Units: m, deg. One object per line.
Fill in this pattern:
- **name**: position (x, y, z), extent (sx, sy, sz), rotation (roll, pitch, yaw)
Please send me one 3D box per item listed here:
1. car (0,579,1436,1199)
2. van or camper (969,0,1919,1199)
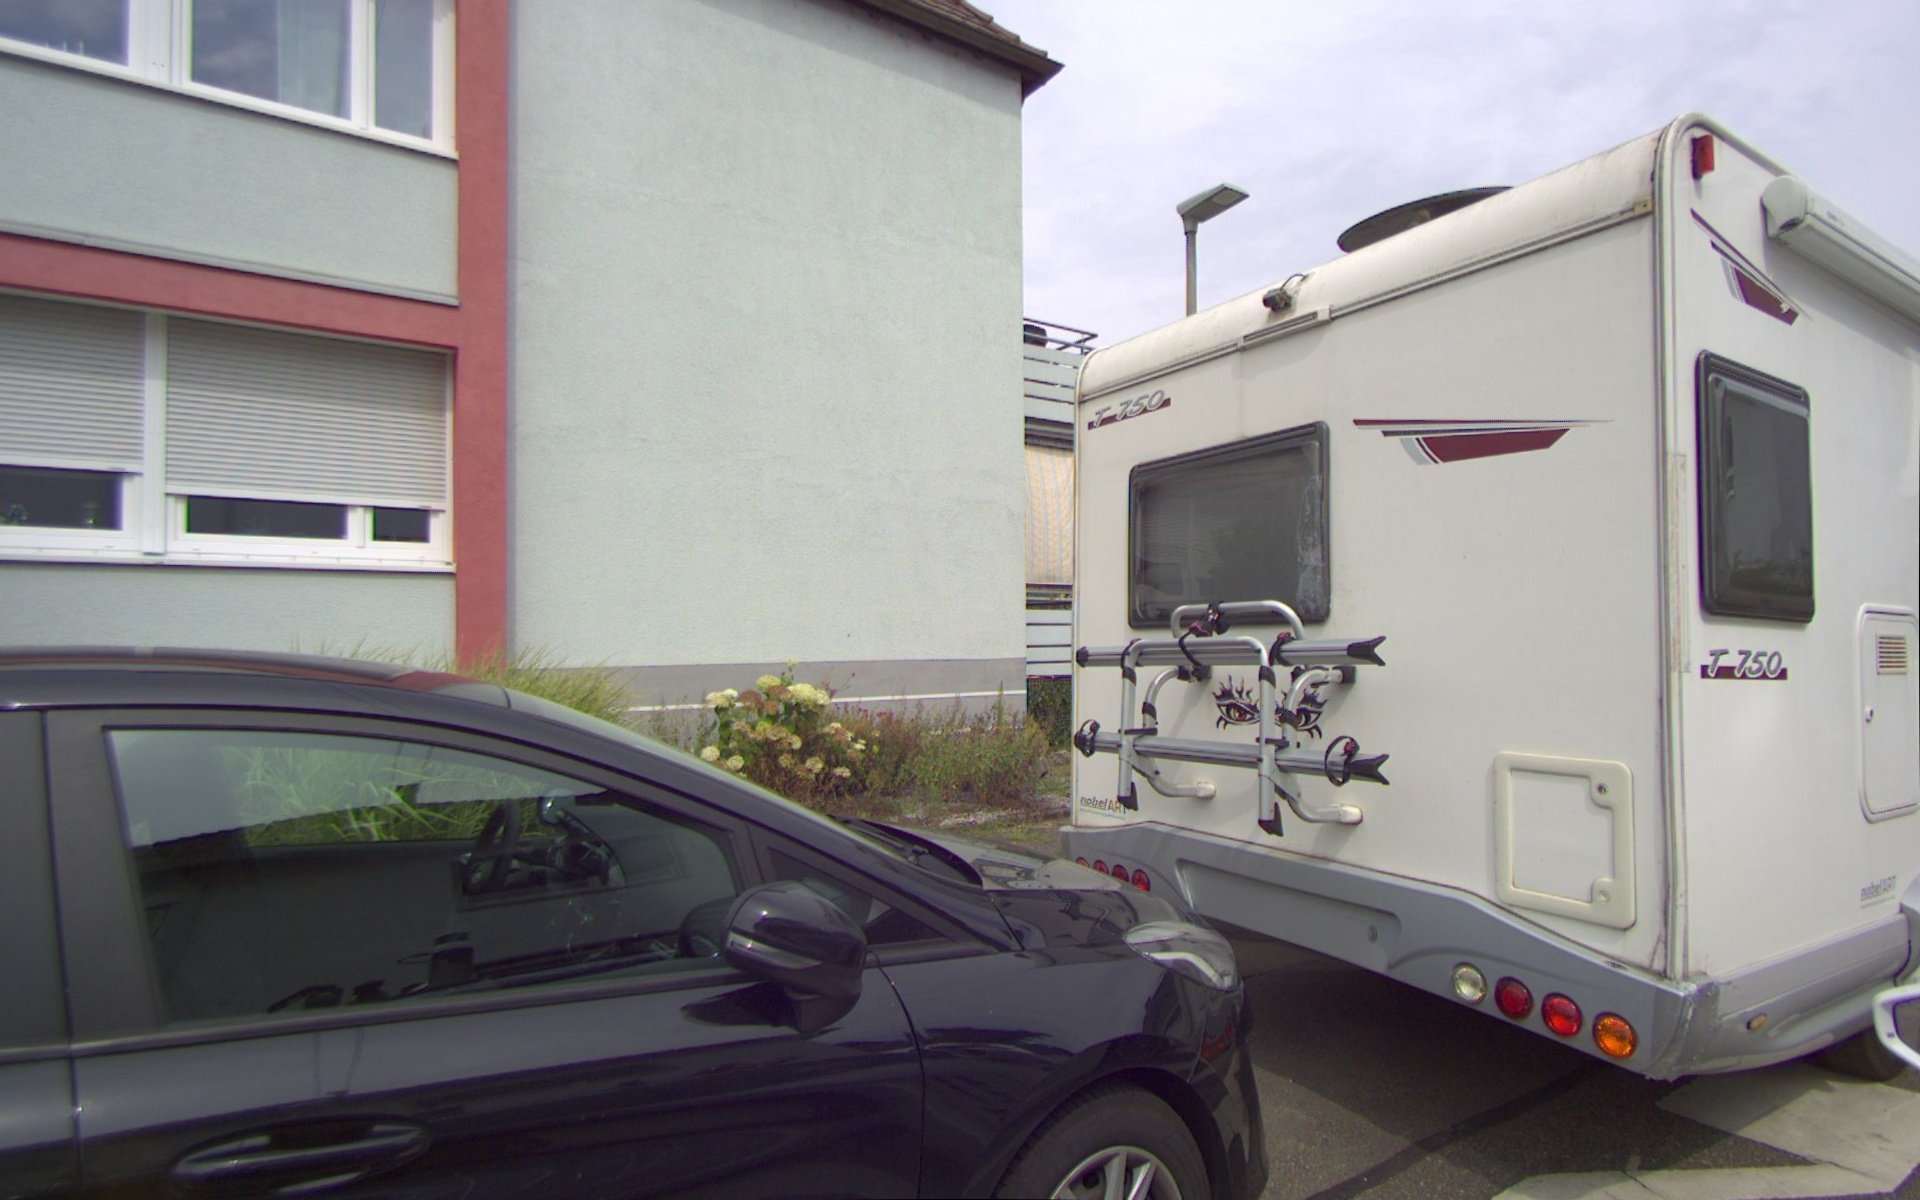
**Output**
- **car**: position (-0.996, 0.746, 1.937), extent (3.723, 1.441, 1.651), rotation (3, -3, -30)
- **van or camper**: position (3.272, 0.201, 4.596), extent (6.091, 2.760, 2.393), rotation (3, -3, -30)
